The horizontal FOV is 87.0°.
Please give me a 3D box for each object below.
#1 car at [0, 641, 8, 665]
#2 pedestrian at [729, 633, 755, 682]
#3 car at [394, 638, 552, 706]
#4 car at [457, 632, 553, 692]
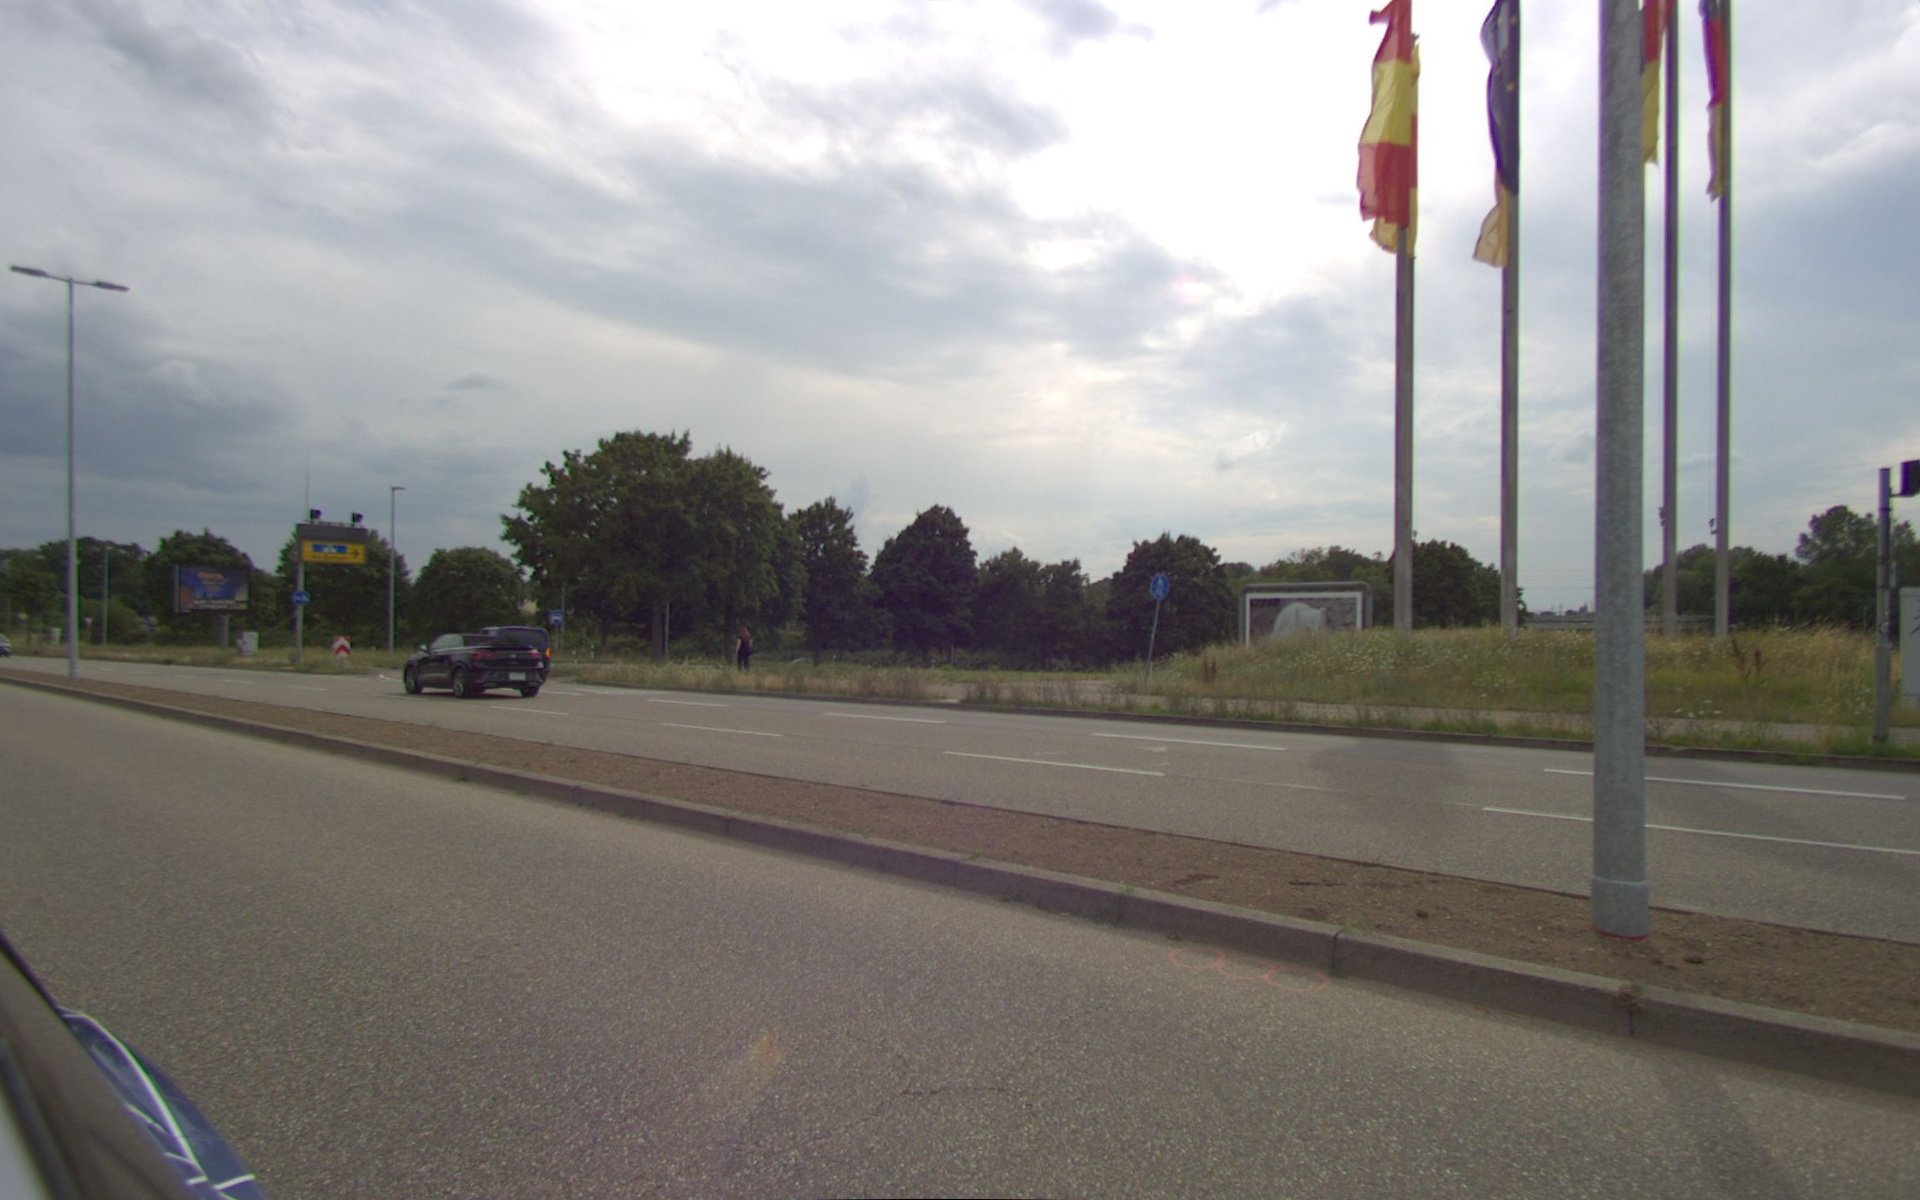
[{"bbox_3d":[-67.801,3.674,70.314,4.556,1.613,1.829,-2,-3,39],"label":"car"},{"bbox_3d":[-7.797,2.048,36.167,0.853,1.706,0.681,1,-3,-16],"label":"pedestrian"},{"bbox_3d":[-11.364,1.631,23.524,4.174,1.452,1.745,-2,-4,40],"label":"car"},{"bbox_3d":[-15.758,2.129,34.885,1.823,1.908,5.517,4,-5,-36],"label":"car"}]
